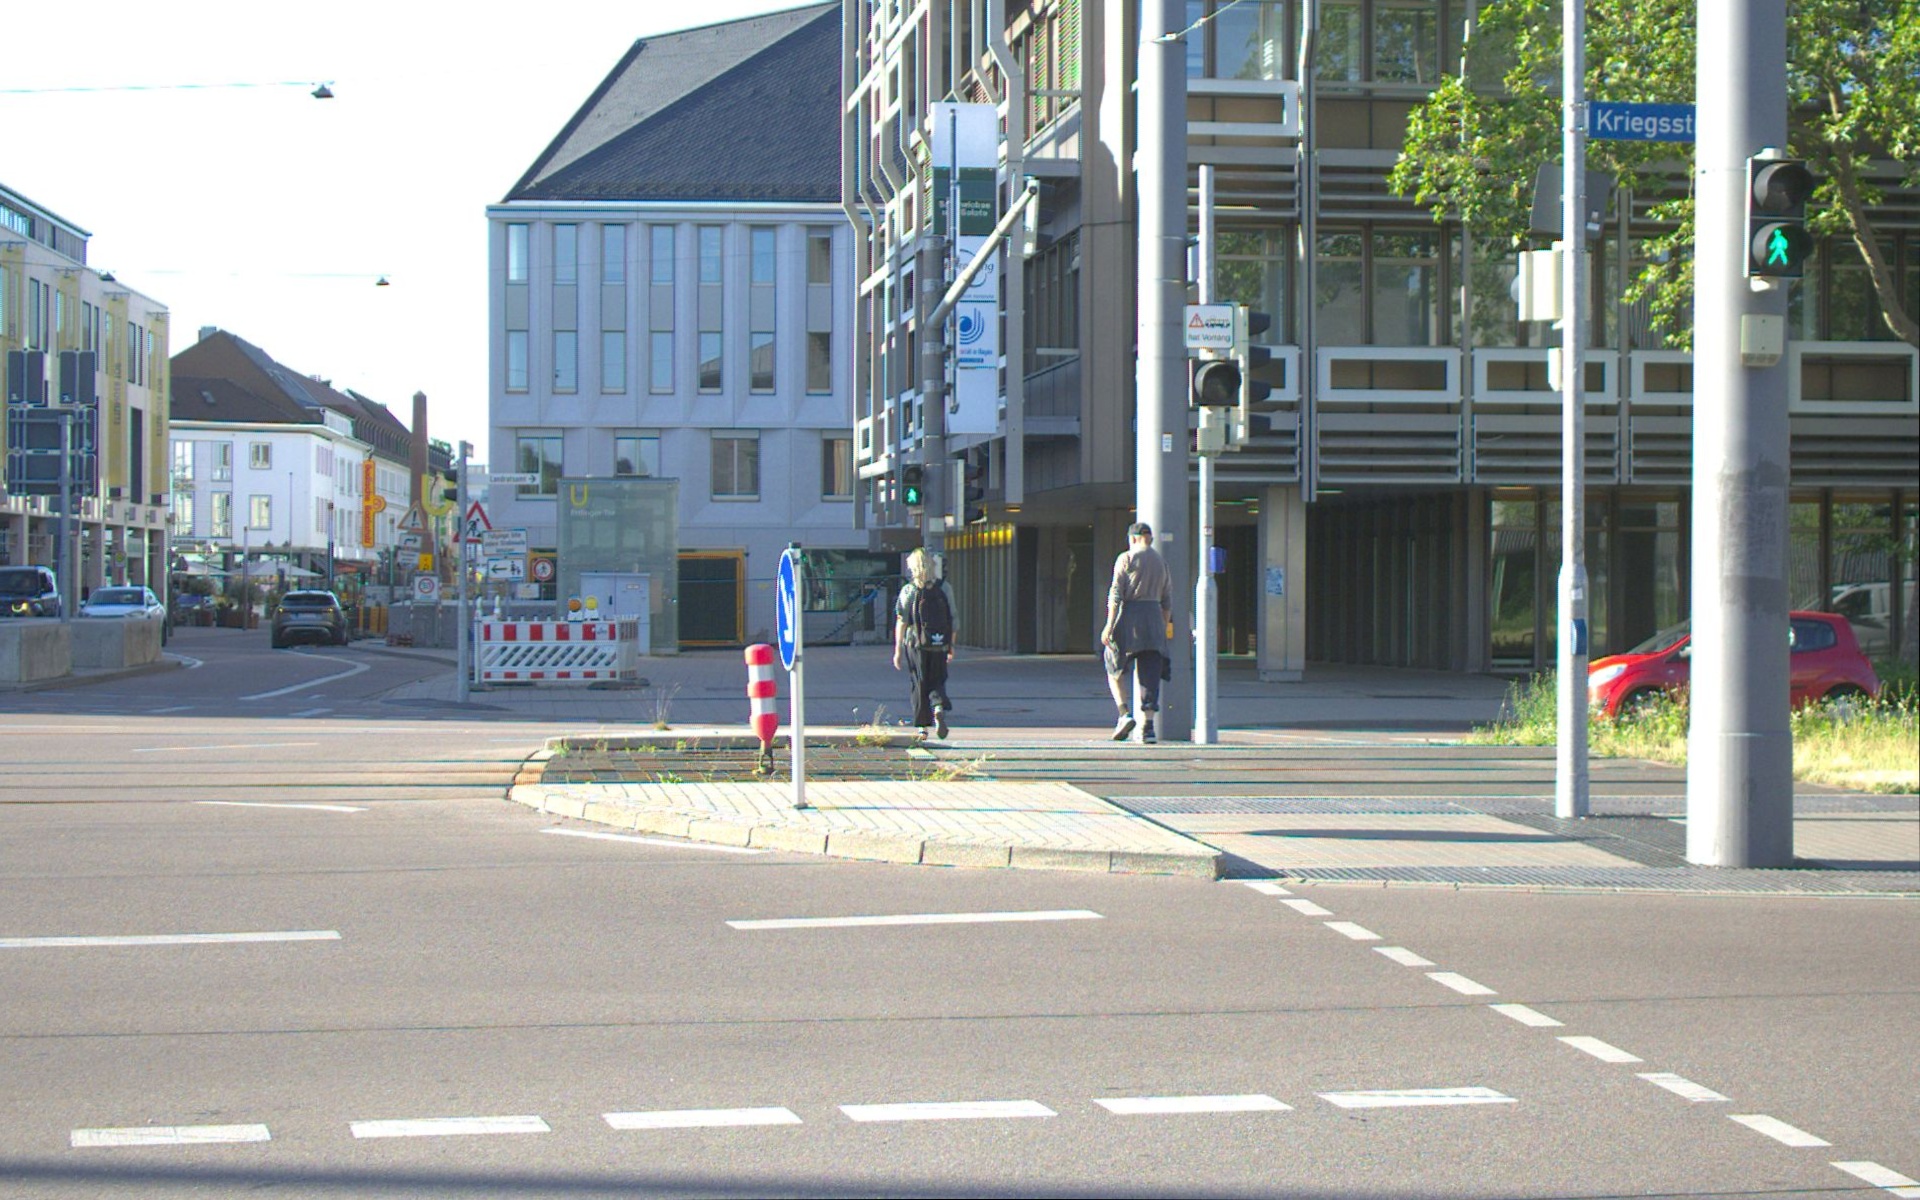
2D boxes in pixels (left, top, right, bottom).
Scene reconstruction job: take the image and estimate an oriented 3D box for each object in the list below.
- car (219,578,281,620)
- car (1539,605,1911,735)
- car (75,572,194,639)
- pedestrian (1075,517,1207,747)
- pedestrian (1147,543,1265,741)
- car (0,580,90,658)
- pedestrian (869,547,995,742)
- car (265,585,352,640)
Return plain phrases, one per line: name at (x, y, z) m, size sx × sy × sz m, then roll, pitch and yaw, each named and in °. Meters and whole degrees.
car at (-32.464, -0.029, 157.294) m, size 2.173 × 1.866 × 5.616 m, roll 1°, pitch 0°, yaw -6°
car at (8.947, 0.840, 40.387) m, size 3.866 × 1.481 × 1.846 m, roll 0°, pitch -3°, yaw -6°
car at (-21.858, 0.156, 91.232) m, size 2.174 × 1.686 × 5.616 m, roll 1°, pitch 0°, yaw -4°
pedestrian at (1.385, 0.236, 26.421) m, size 0.855 × 1.738 × 0.739 m, roll 0°, pitch 1°, yaw -10°
pedestrian at (2.432, 0.401, 33.929) m, size 1.012 × 1.904 × 1.050 m, roll 1°, pitch 0°, yaw 12°
car at (-21.341, 0.419, 77.652) m, size 2.174 × 1.686 × 5.487 m, roll 1°, pitch 0°, yaw -2°
pedestrian at (-0.234, 0.352, 28.059) m, size 0.895 × 1.544 × 0.924 m, roll 0°, pitch 2°, yaw -8°
car at (-17.815, 0.345, 94.210) m, size 1.936 × 1.445 × 4.263 m, roll 1°, pitch 0°, yaw -5°
